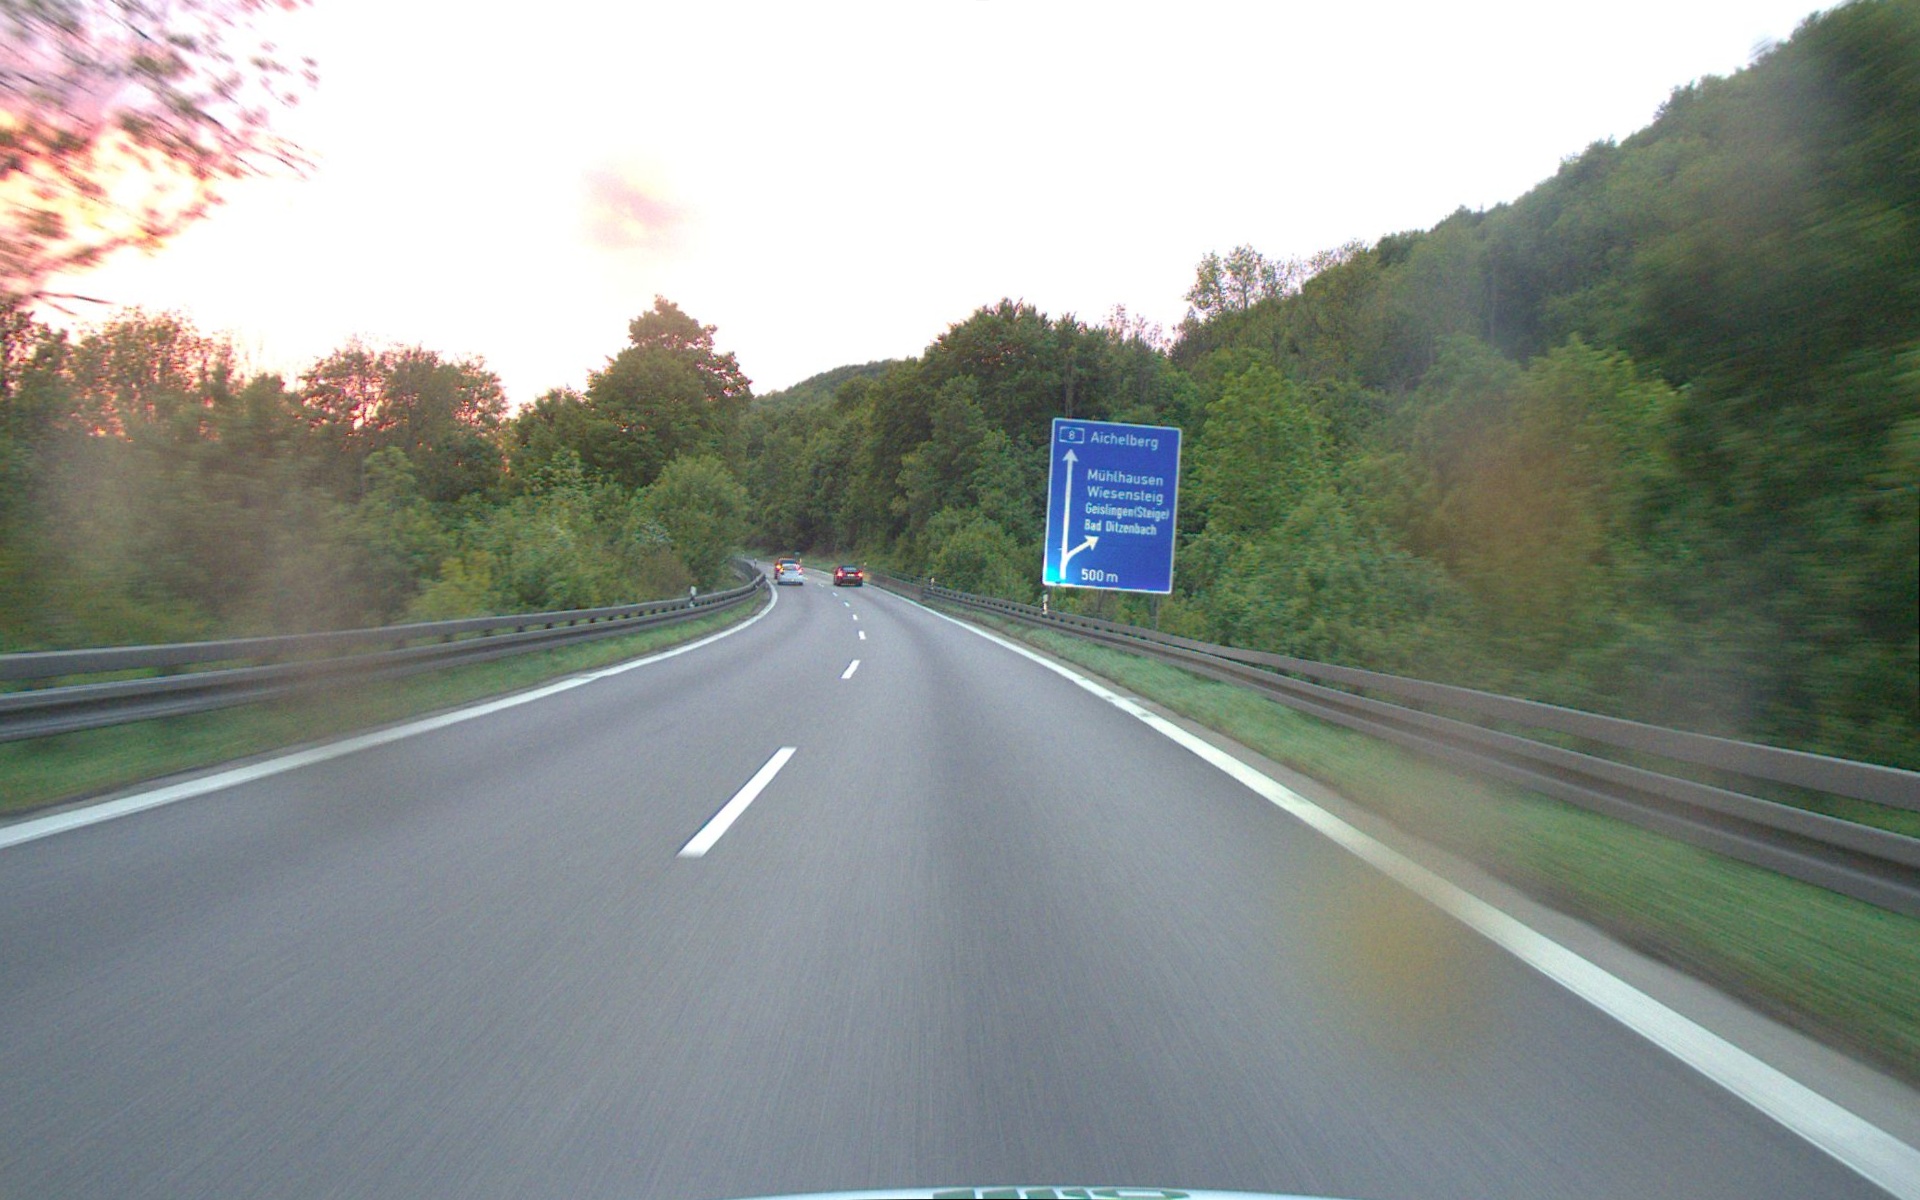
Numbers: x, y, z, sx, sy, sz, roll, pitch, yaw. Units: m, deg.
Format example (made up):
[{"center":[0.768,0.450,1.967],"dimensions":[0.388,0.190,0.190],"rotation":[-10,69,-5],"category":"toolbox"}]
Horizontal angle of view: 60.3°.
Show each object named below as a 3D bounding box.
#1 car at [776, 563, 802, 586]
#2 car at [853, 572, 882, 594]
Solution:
[{"center":[-12.225,-1.785,118.158],"dimensions":[1.684,1.527,3.996],"rotation":[2,0,-4],"category":"car"},{"center":[-6.601,-1.214,118.951],"dimensions":[1.840,1.492,3.999],"rotation":[-3,0,-1],"category":"car"}]
